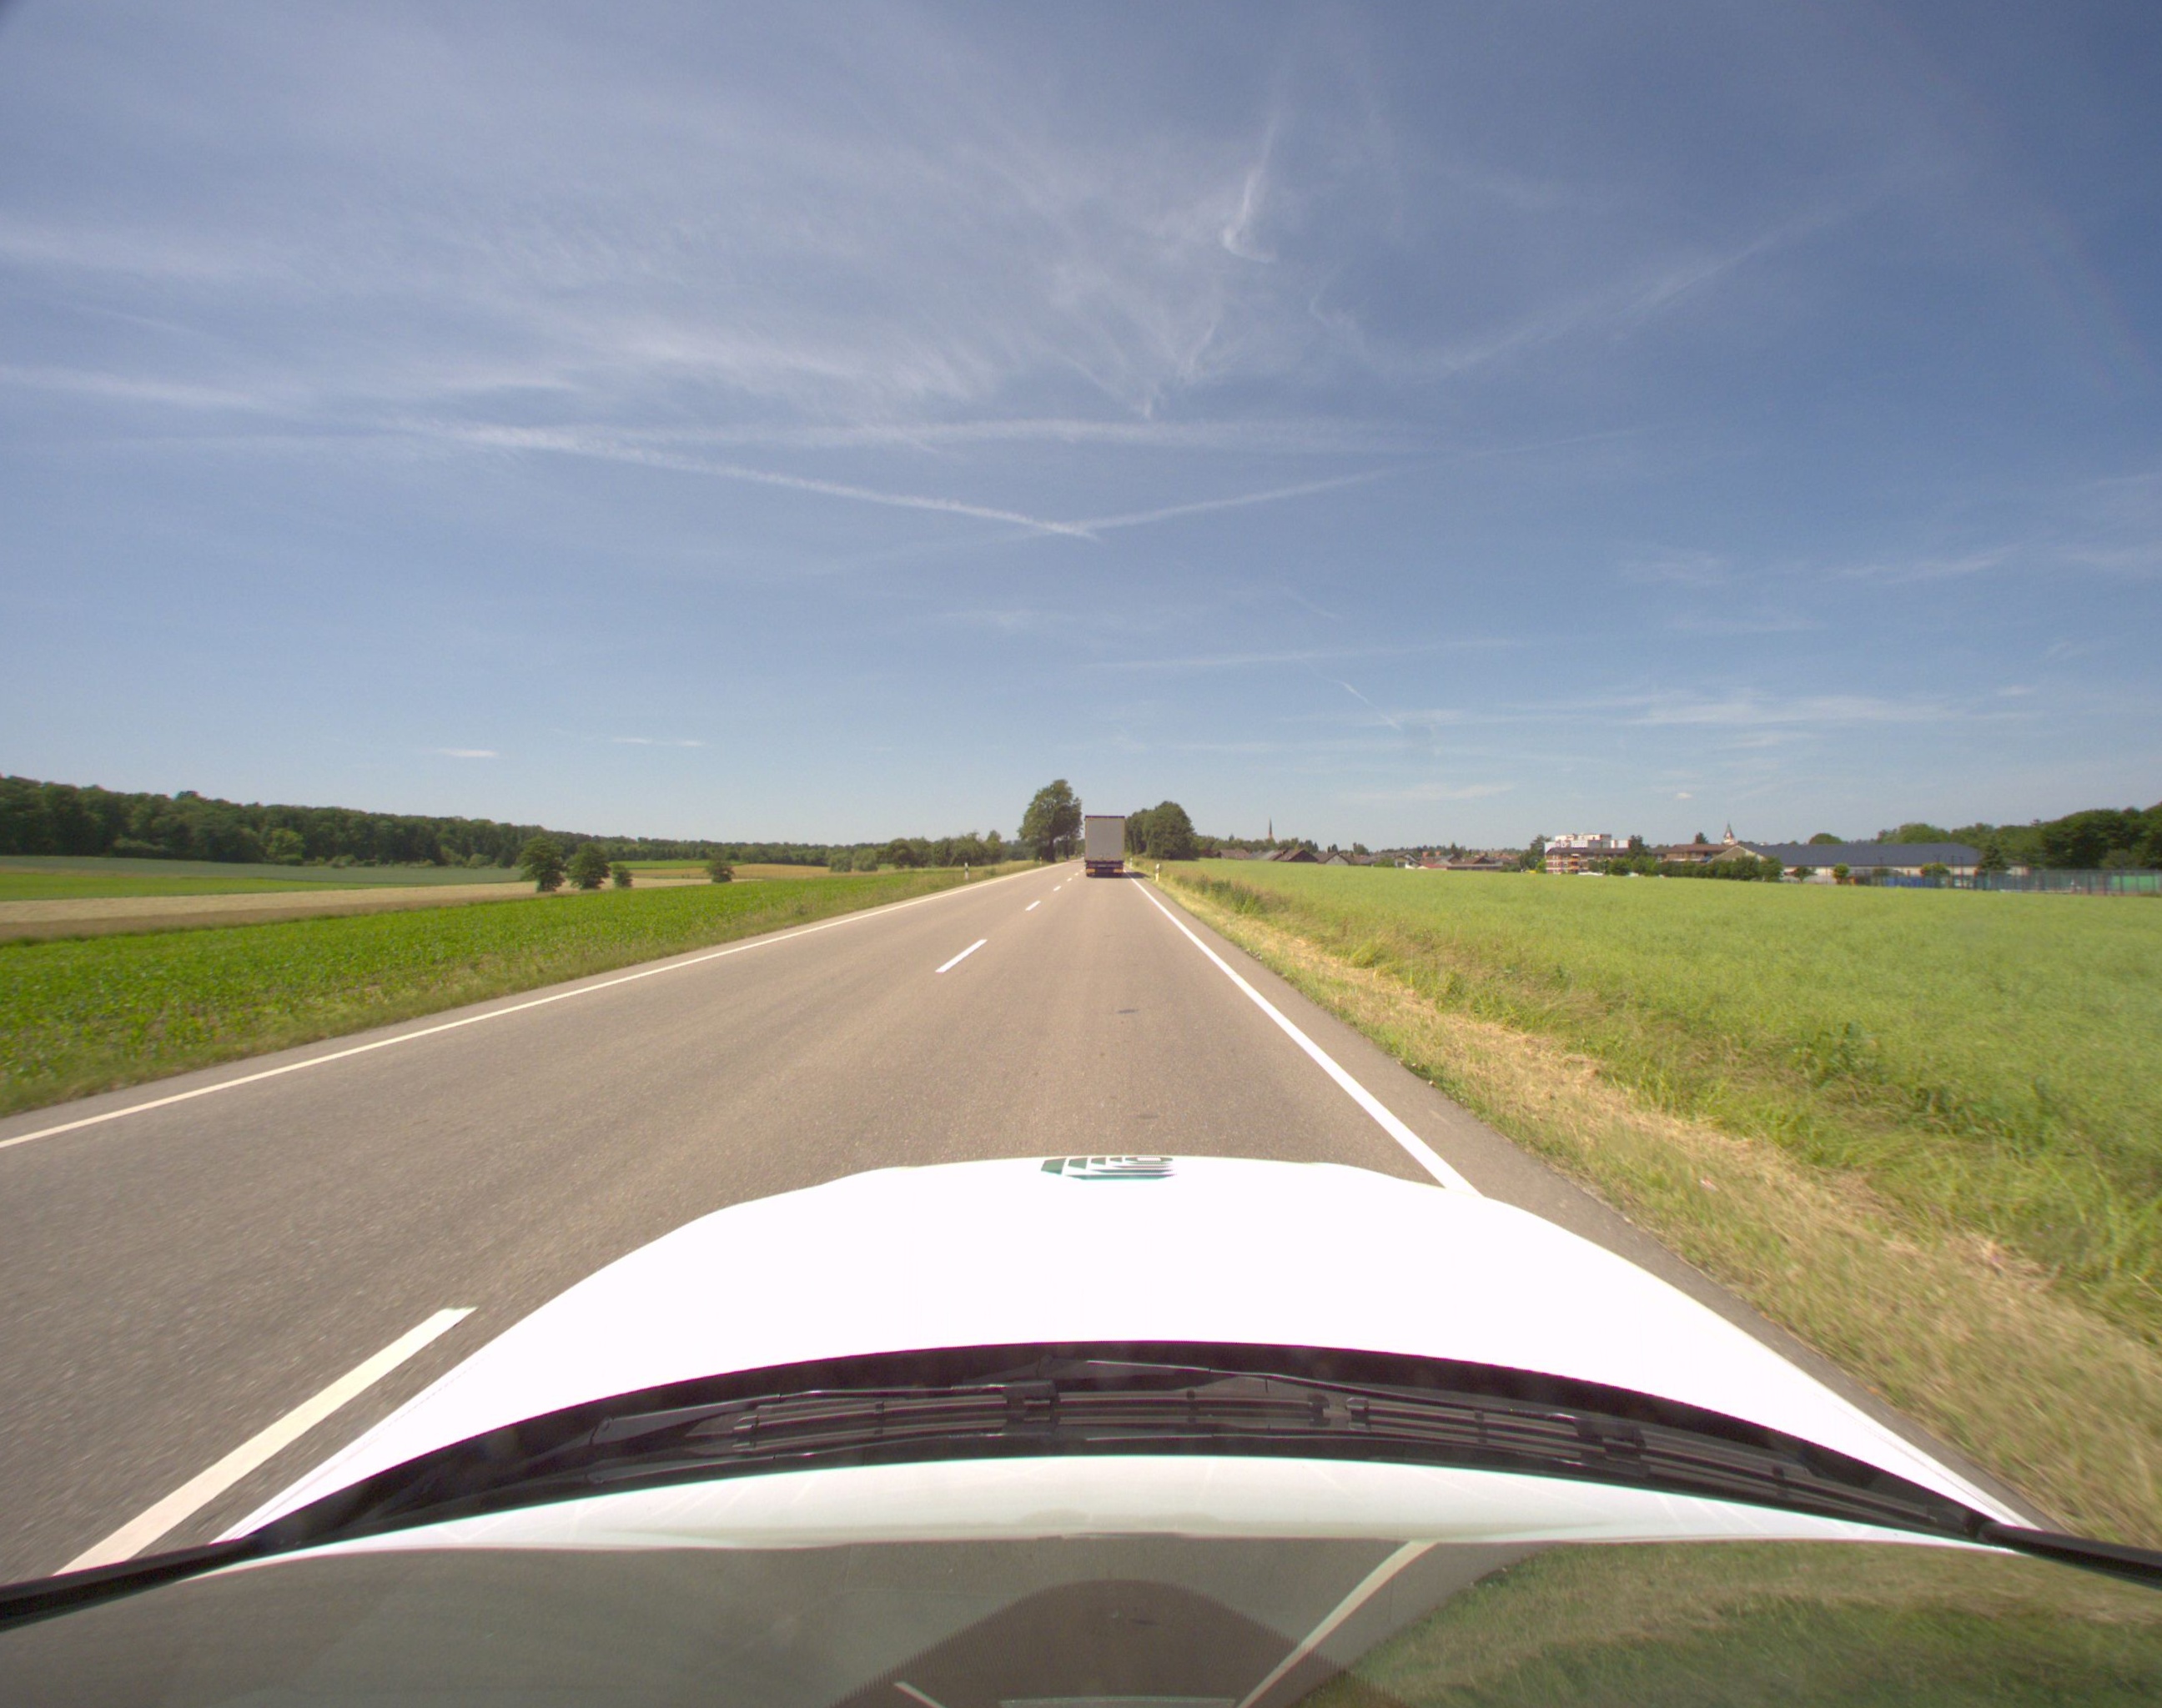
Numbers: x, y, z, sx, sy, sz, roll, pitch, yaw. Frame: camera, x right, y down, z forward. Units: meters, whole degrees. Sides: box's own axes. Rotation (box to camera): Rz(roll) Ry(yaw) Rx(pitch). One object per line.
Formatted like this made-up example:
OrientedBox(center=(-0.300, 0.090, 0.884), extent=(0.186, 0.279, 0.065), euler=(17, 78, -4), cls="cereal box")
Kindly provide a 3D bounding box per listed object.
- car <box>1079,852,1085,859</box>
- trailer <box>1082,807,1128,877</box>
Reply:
OrientedBox(center=(0.247, 0.415, 243.883), extent=(1.867, 2.013, 4.074), euler=(-1, 0, 0), cls="car")
OrientedBox(center=(1.676, -0.751, 58.124), extent=(2.857, 4.400, 13.496), euler=(0, 0, 1), cls="trailer")
